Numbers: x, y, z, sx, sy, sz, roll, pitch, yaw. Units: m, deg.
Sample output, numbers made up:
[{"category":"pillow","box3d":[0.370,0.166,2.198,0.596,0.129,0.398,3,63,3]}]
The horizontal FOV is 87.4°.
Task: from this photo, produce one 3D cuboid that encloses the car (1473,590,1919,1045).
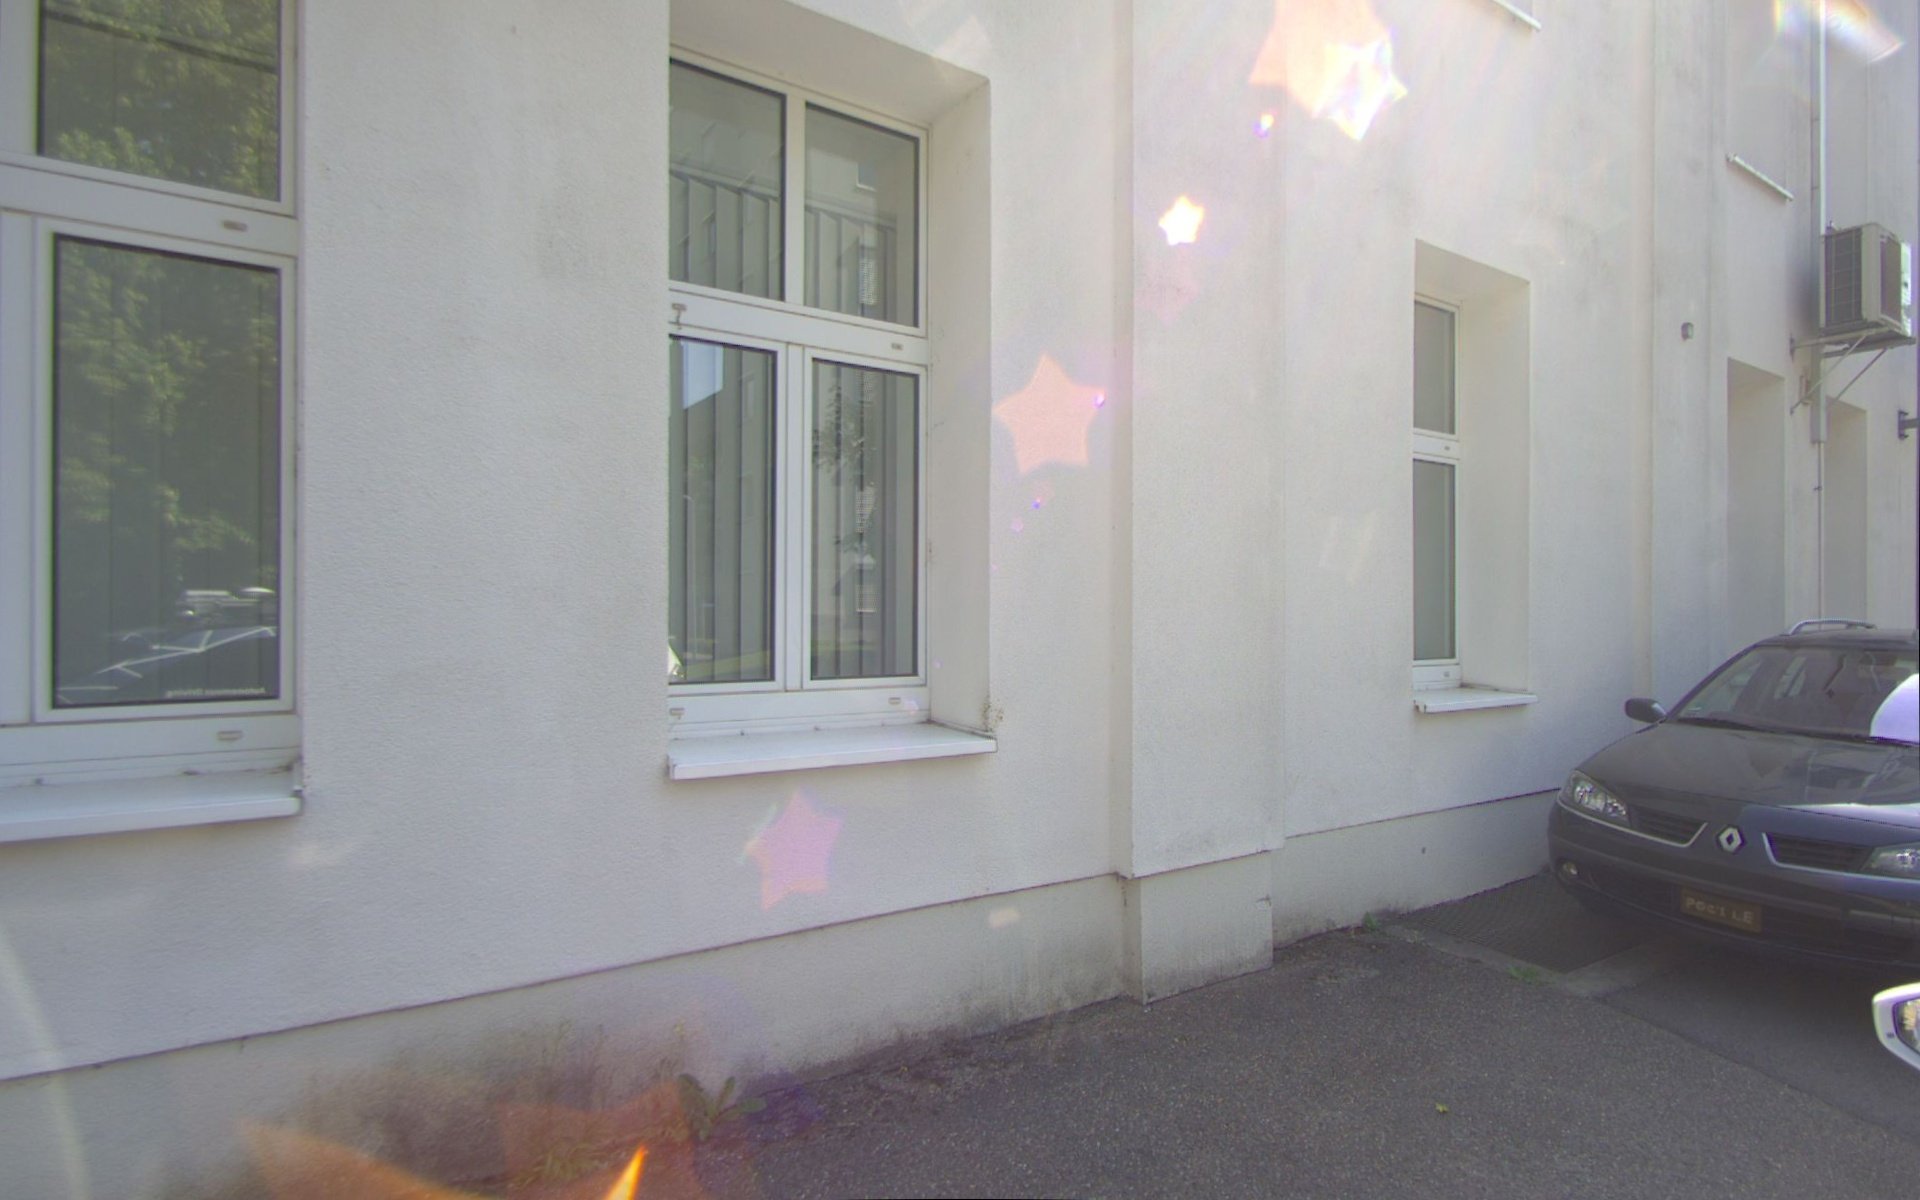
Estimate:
[{"category":"car","box3d":[4.655,0.801,5.041,4.386,1.461,1.825,3,0,-35]}]
